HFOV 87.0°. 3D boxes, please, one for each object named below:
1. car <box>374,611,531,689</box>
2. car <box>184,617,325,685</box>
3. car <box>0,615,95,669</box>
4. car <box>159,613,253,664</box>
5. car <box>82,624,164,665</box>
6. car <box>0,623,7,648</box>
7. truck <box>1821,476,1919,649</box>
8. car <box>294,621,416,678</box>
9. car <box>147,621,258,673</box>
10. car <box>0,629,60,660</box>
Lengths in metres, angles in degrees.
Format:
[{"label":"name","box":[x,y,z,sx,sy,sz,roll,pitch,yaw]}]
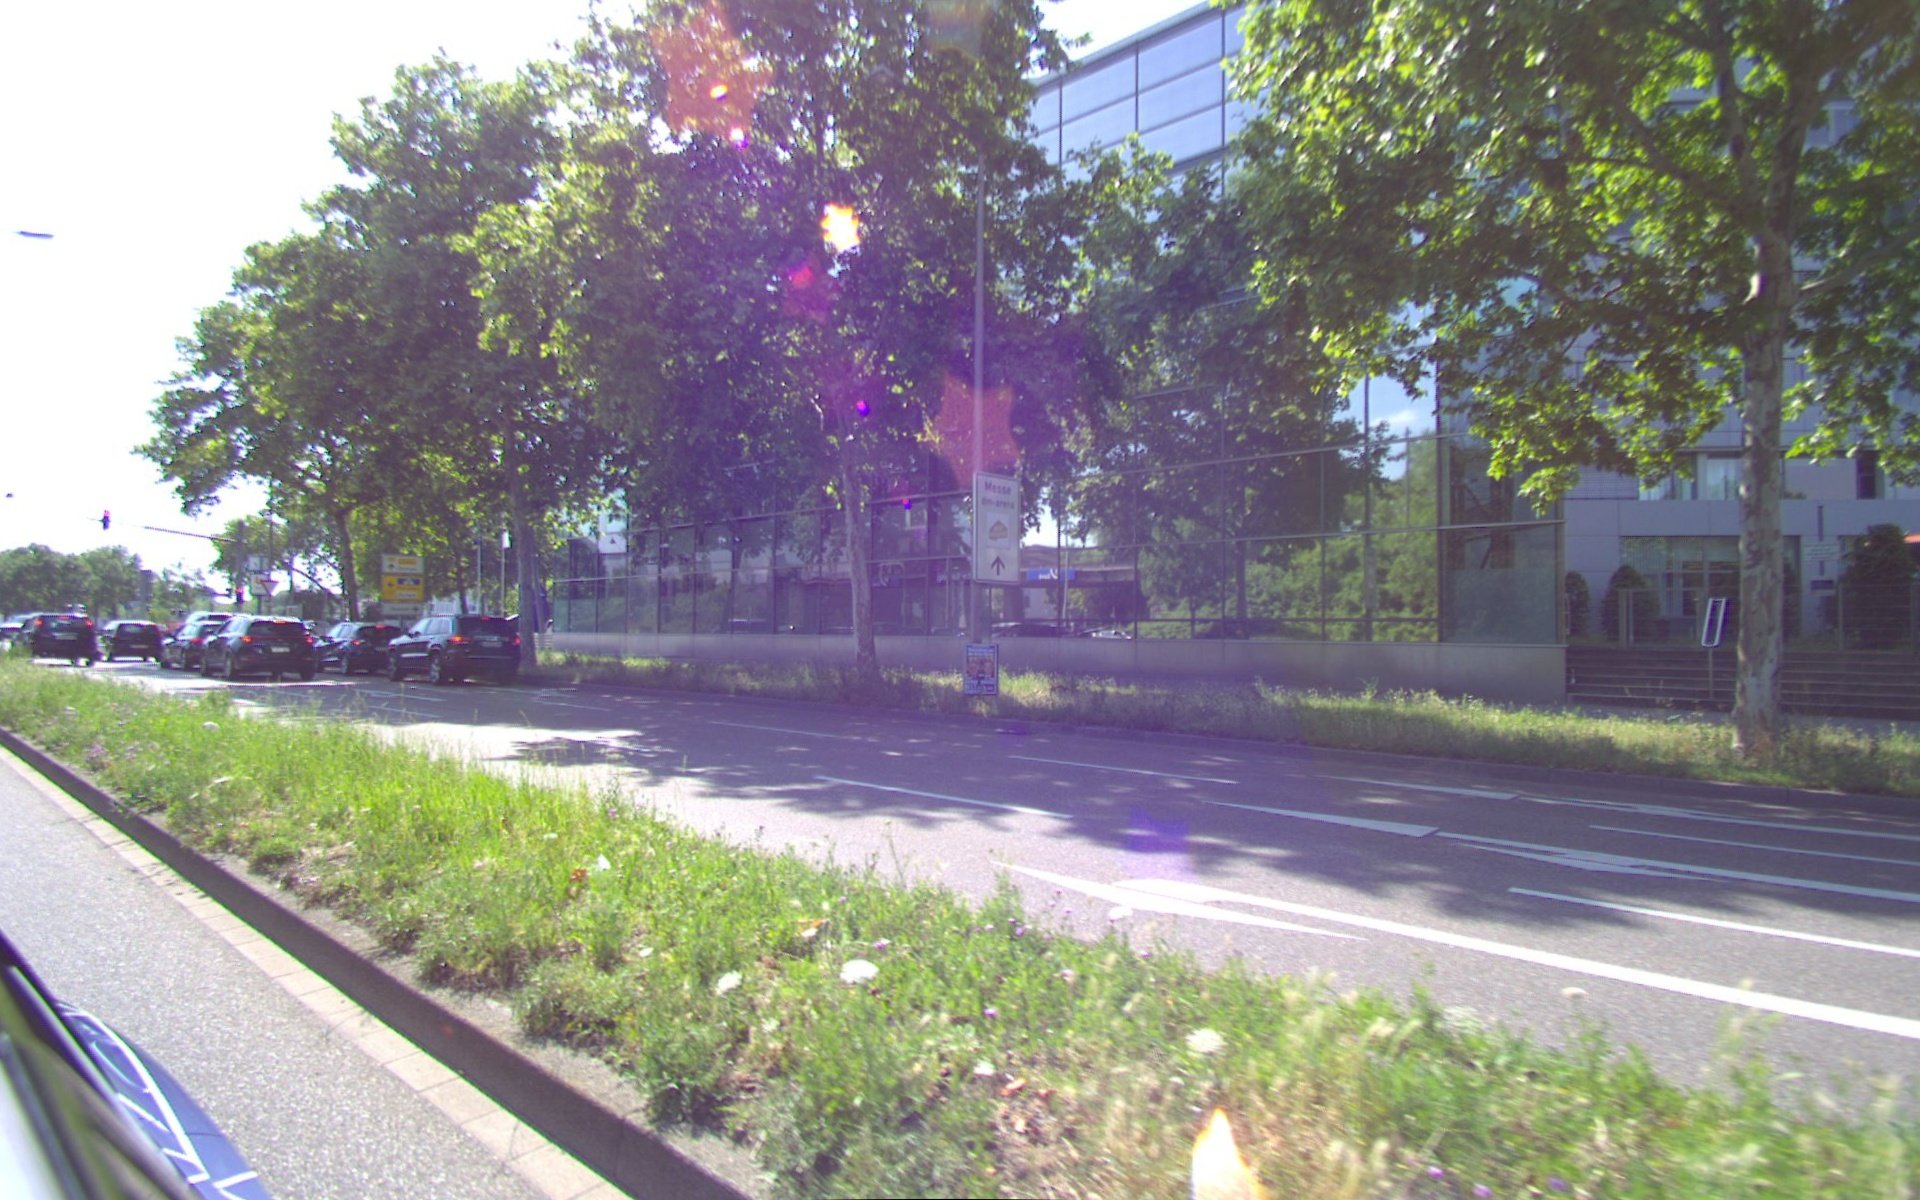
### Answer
[{"label":"car","box":[-13.168,1.266,26.136,4.649,1.849,1.973,-2,-4,41]},{"label":"car","box":[-18.557,1.316,26.563,4.493,1.623,1.973,-2,-3,41]},{"label":"car","box":[-29.510,1.342,32.589,4.487,1.628,1.789,-2,-3,40]},{"label":"car","box":[-30.380,1.528,40.719,5.225,1.934,1.918,-2,-3,41]},{"label":"car","box":[-31.610,1.656,38.198,3.955,1.487,1.743,-2,-3,41]},{"label":"car","box":[-64.476,2.309,65.384,1.752,1.641,3.989,0,-2,8]},{"label":"truck","box":[23.513,-0.690,20.777,8.876,3.421,2.669,0,-2,5]},{"label":"car","box":[-18.355,1.485,30.626,4.444,1.603,1.867,-1,-4,42]},{"label":"car","box":[-23.314,1.416,31.079,4.515,1.473,1.816,-1,-5,42]},{"label":"car","box":[-54.274,2.559,58.387,1.965,1.722,4.444,1,-2,-19]}]
